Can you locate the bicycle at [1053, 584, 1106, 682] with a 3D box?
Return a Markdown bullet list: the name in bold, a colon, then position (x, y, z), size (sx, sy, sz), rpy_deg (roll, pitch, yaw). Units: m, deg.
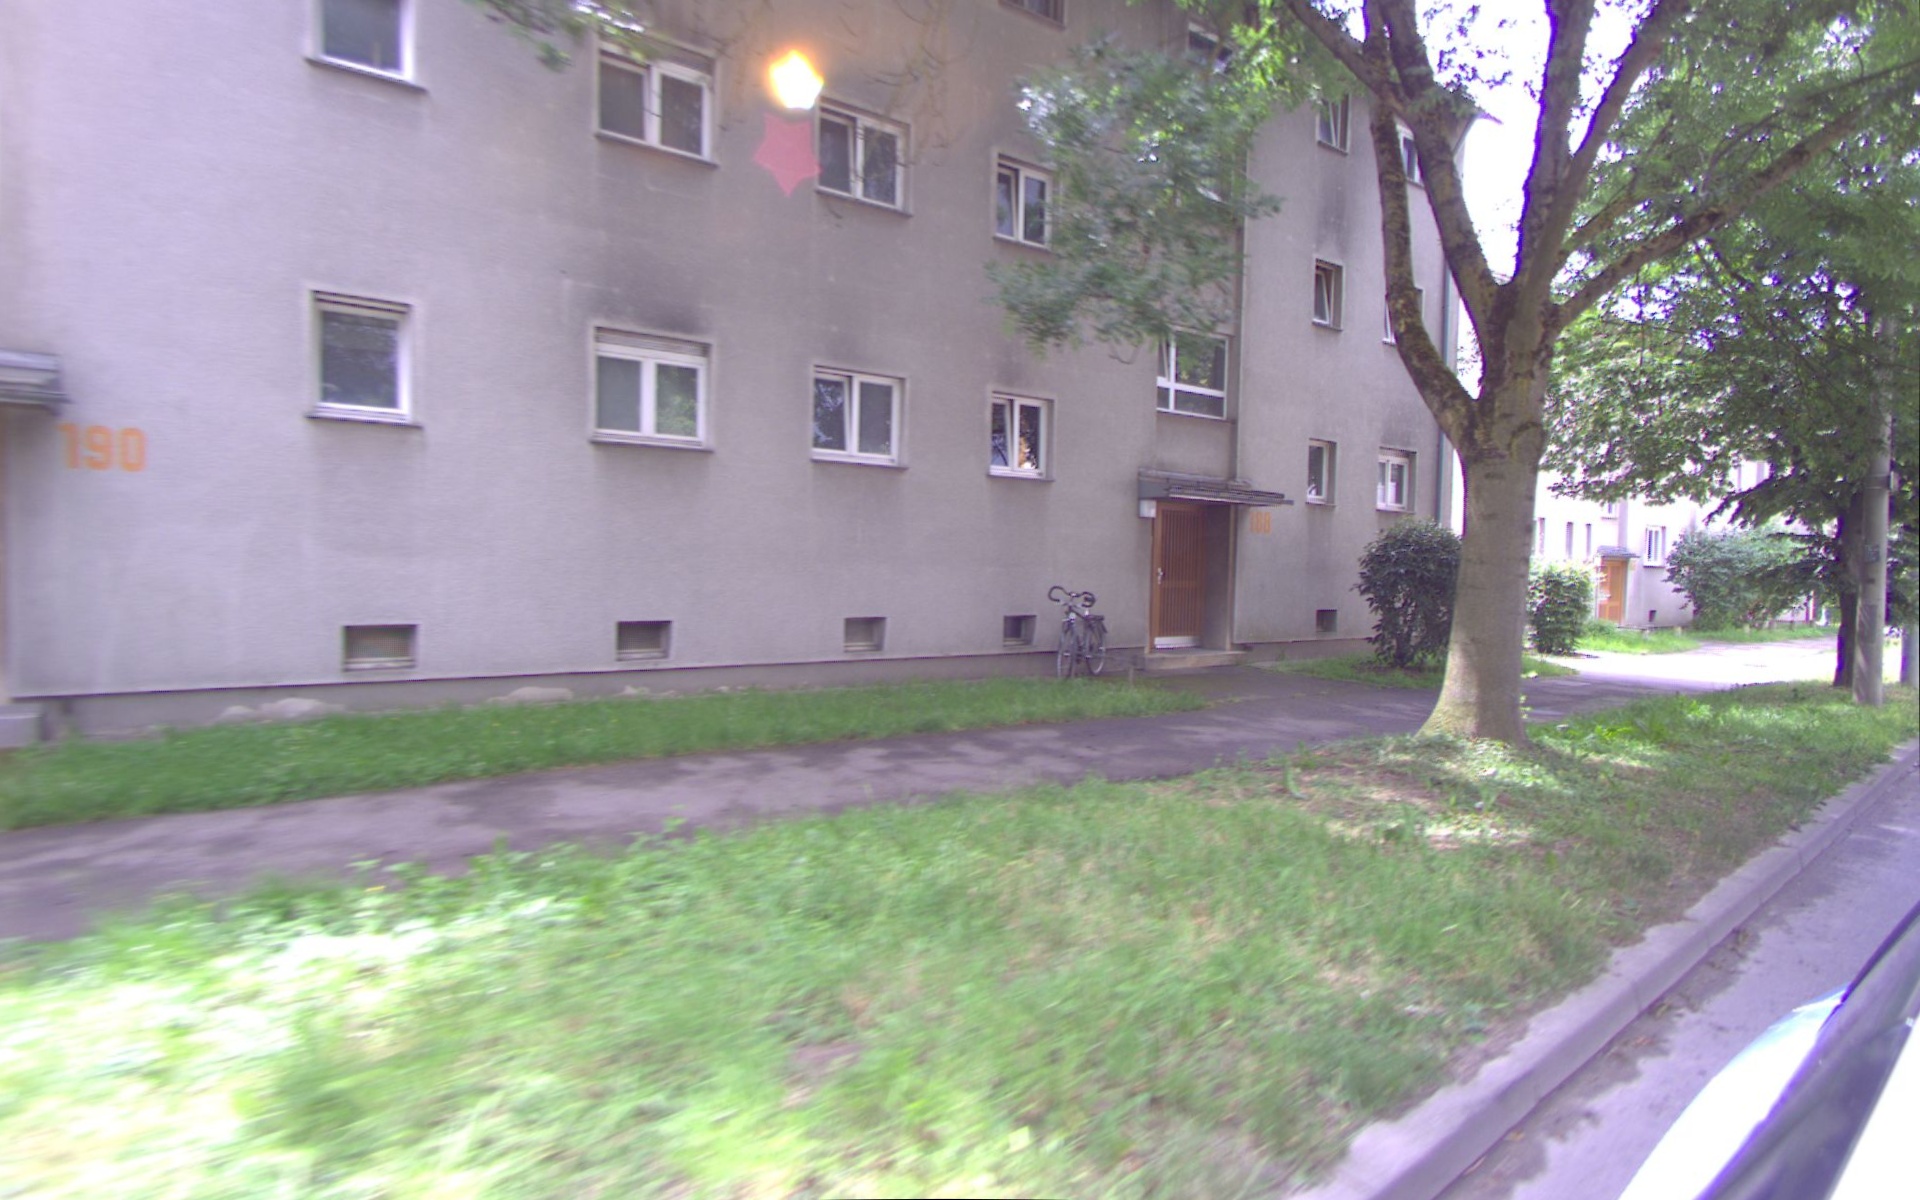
- **bicycle**: position (1.463, 0.358, 12.248), size (0.430, 1.094, 1.747), rpy_deg (0, 1, 14)
